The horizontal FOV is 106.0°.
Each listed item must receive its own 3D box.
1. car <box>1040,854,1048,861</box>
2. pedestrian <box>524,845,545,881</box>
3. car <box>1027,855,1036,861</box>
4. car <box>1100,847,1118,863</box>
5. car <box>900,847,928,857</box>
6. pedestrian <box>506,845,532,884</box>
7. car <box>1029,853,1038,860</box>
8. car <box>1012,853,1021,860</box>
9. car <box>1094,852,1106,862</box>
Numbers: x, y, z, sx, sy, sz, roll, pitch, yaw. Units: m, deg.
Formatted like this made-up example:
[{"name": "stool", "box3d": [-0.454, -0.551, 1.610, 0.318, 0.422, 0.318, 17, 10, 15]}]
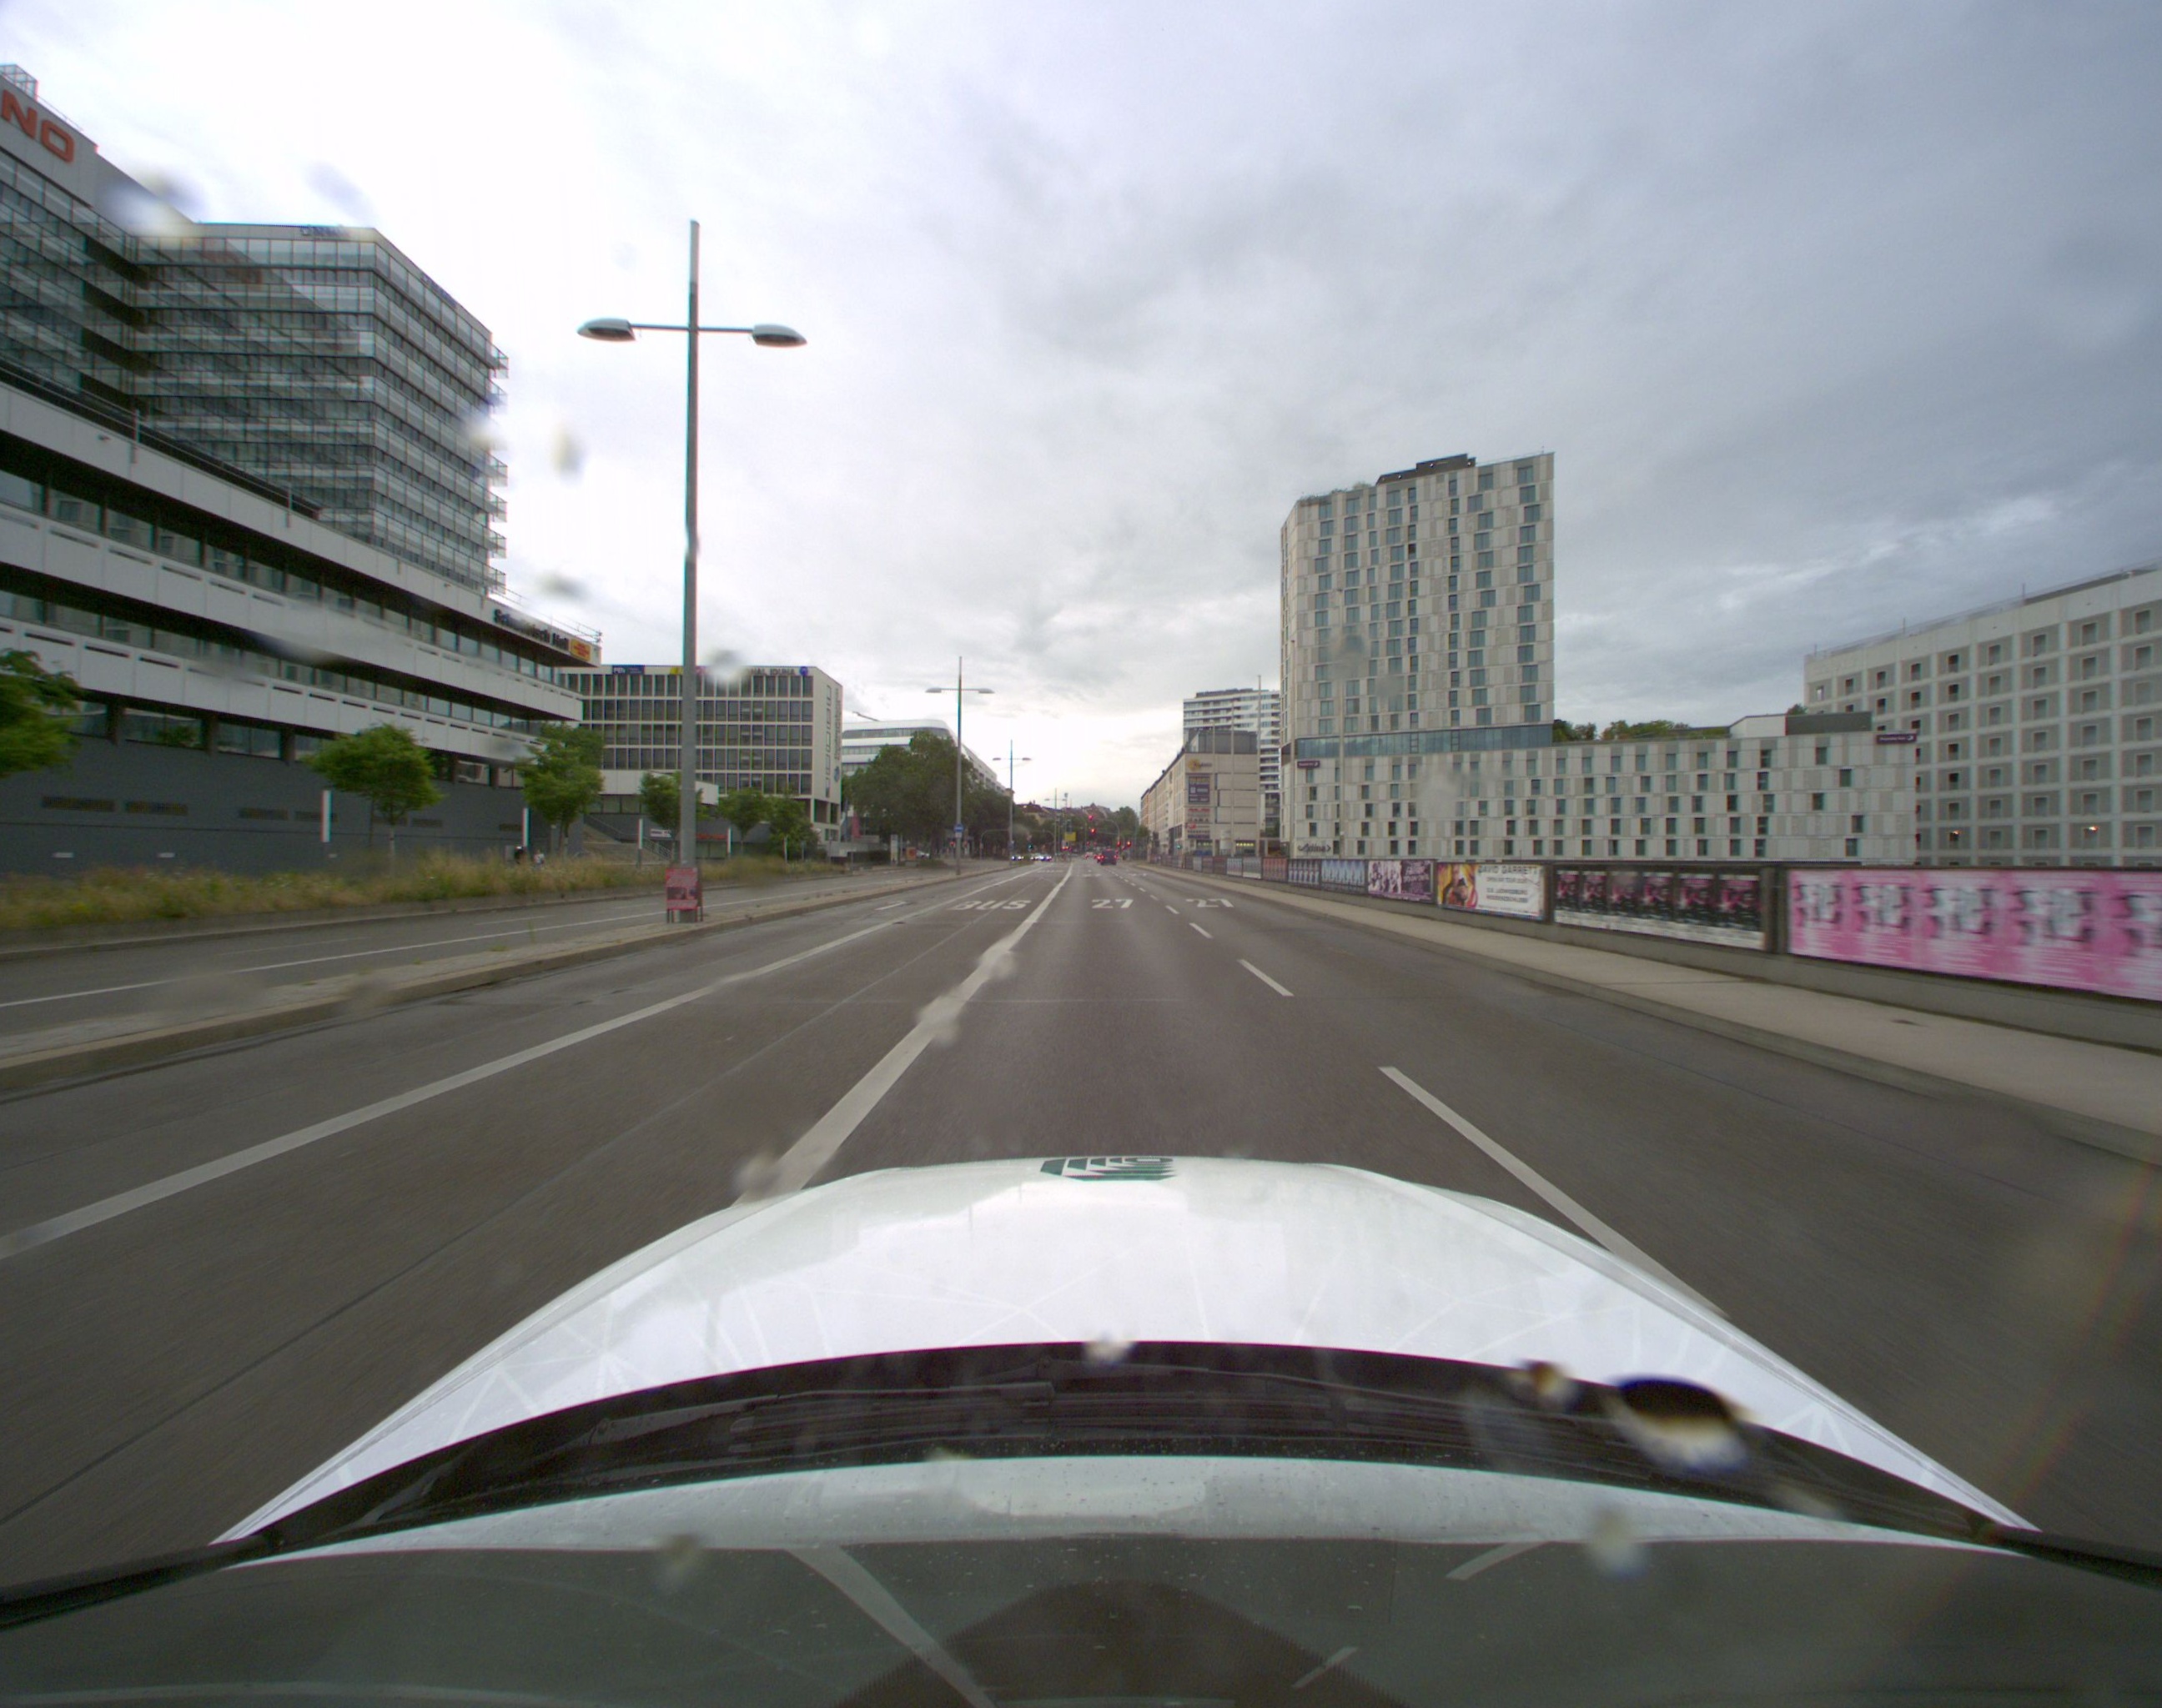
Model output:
[{"name": "car", "box3d": [-7.971, 0.697, 175.670, 1.737, 1.444, 3.394, -1, -1, 0]}, {"name": "pedestrian", "box3d": [-27.869, 0.440, 41.565, 0.627, 1.808, 0.628, -1, -1, 0]}, {"name": "car", "box3d": [-10.670, 0.768, 176.591, 1.737, 1.257, 3.539, 0, 0, 0]}, {"name": "car", "box3d": [3.595, 0.110, 105.000, 2.026, 1.882, 5.042, -3, 1, 0]}, {"name": "car", "box3d": [-30.564, -0.377, 149.099, 4.467, 1.631, 1.903, -1, -1, 16]}, {"name": "pedestrian", "box3d": [-26.421, 0.487, 38.267, 0.781, 1.808, 0.628, -1, -1, 0]}, {"name": "car", "box3d": [-10.635, 0.540, 183.914, 1.737, 1.559, 3.539, -1, -1, 0]}, {"name": "car", "box3d": [-13.949, 0.583, 175.974, 1.737, 1.328, 4.225, -1, -1, 0]}, {"name": "car", "box3d": [3.028, 0.425, 128.957, 1.734, 1.531, 3.813, -1, -1, 0]}]
